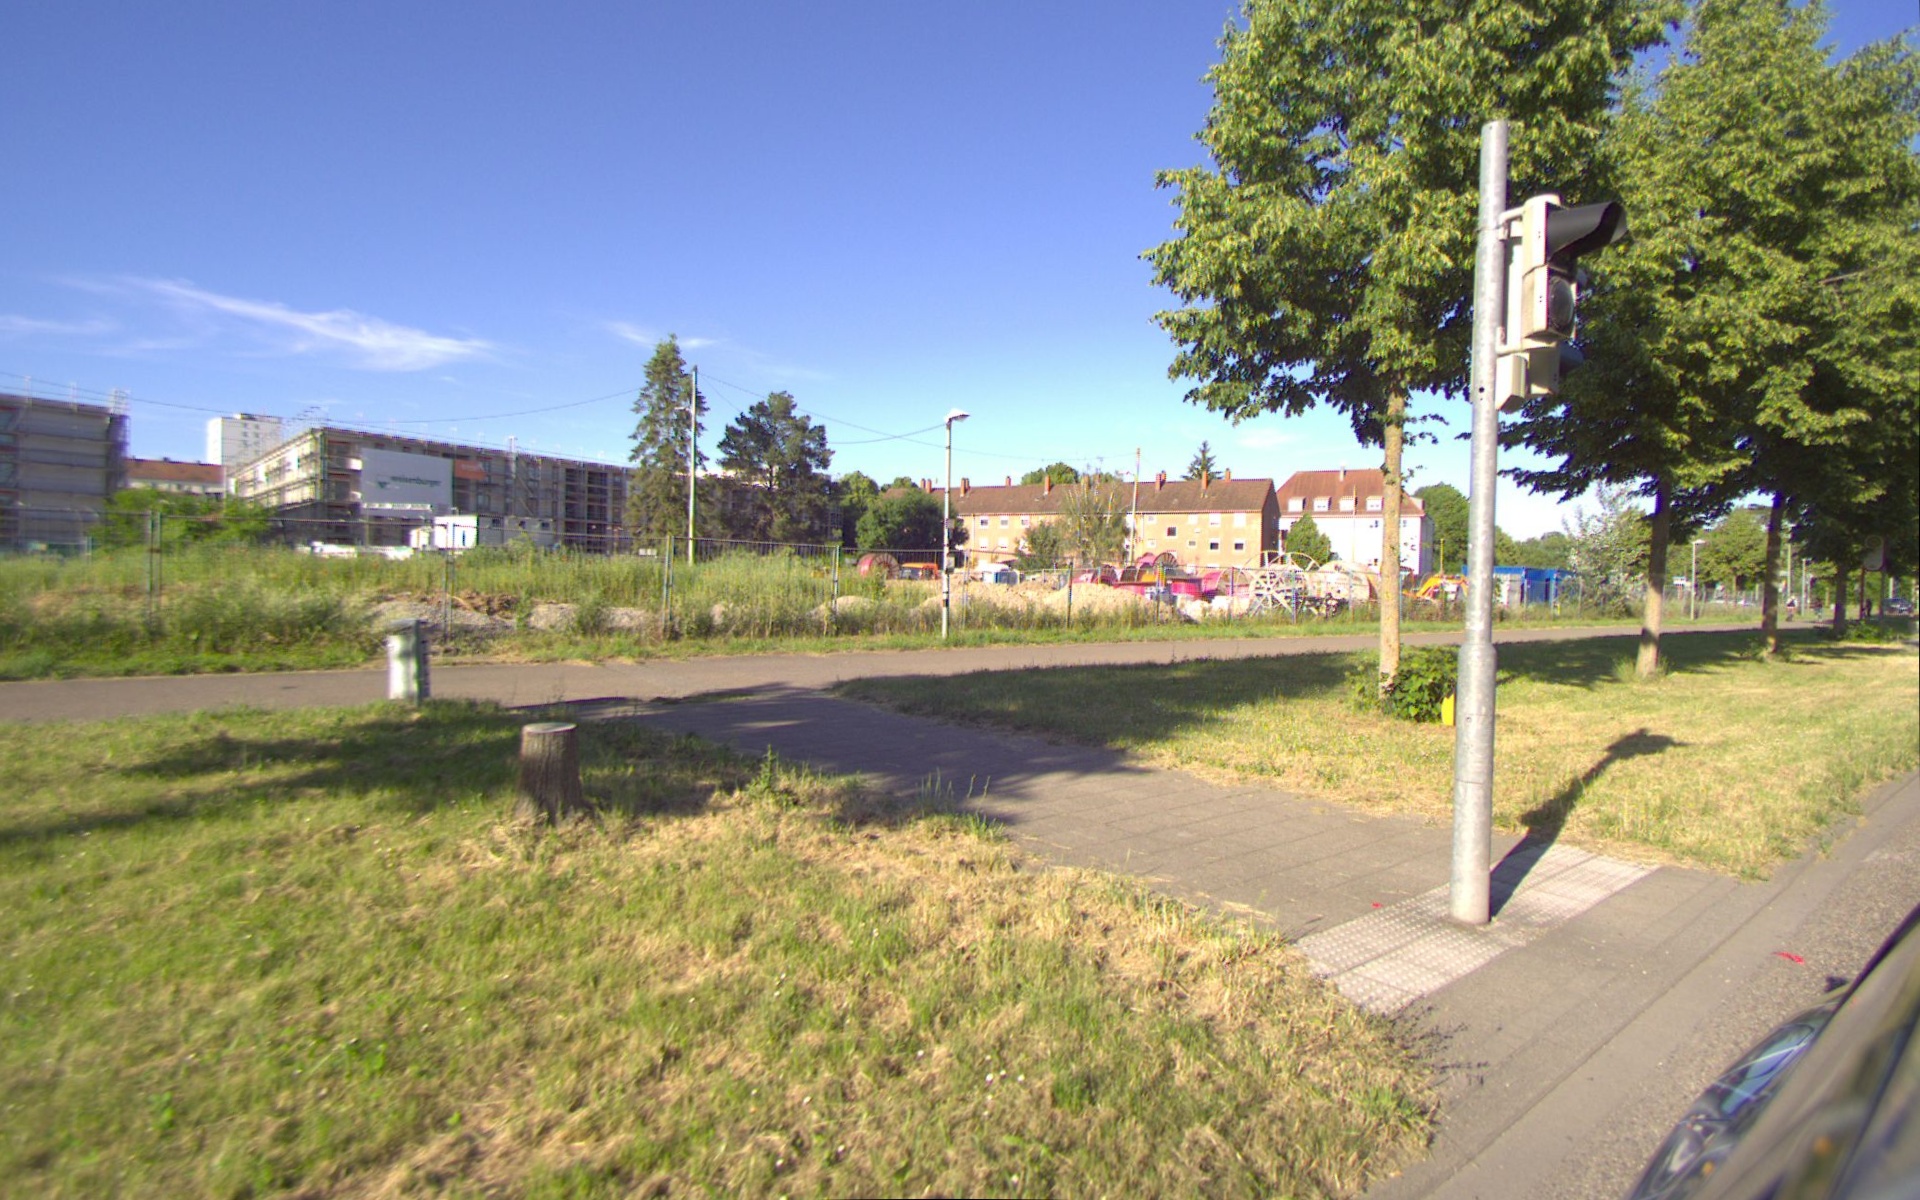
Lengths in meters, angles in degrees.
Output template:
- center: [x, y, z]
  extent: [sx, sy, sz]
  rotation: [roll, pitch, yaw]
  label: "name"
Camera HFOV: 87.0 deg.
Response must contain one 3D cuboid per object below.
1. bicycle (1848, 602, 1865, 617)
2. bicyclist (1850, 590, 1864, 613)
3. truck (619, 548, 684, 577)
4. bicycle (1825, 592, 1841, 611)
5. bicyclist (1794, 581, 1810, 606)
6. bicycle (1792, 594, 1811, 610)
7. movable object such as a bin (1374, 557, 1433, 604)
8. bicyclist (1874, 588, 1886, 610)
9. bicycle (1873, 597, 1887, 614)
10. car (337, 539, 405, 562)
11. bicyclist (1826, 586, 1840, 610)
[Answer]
- center: [64.647, 0.685, 72.968]
  extent: [1.866, 0.972, 0.593]
  rotation: [-2, 2, -39]
  label: "bicycle"
- center: [64.638, 0.089, 72.949]
  extent: [0.948, 1.606, 0.592]
  rotation: [-2, 2, -38]
  label: "bicyclist"
- center: [-23.410, -2.825, 76.904]
  extent: [1.990, 2.038, 4.371]
  rotation: [2, 2, 39]
  label: "truck"
- center: [55.853, 0.115, 64.763]
  extent: [1.577, 1.166, 0.507]
  rotation: [0, 2, -41]
  label: "bicycle"
- center: [55.038, -0.437, 66.129]
  extent: [0.780, 1.572, 0.654]
  rotation: [0, 2, -40]
  label: "bicyclist"
- center: [55.019, 0.146, 66.149]
  extent: [1.788, 1.025, 0.657]
  rotation: [0, 2, -40]
  label: "bicycle"
- center: [19.707, -0.887, 45.024]
  extent: [1.757, 2.038, 1.799]
  rotation: [-2, 2, -39]
  label: "movable object such as a bin"
- center: [65.448, -0.060, 72.014]
  extent: [0.899, 1.504, 0.471]
  rotation: [-2, 2, -38]
  label: "bicyclist"
- center: [65.483, 0.379, 72.049]
  extent: [1.614, 1.095, 0.479]
  rotation: [-2, 2, -39]
  label: "bicycle"
- center: [-43.428, -3.670, 74.717]
  extent: [1.819, 1.638, 3.954]
  rotation: [1, 2, 33]
  label: "car"
- center: [55.866, -0.116, 64.764]
  extent: [0.819, 1.491, 0.504]
  rotation: [0, 2, -40]
  label: "bicyclist"
